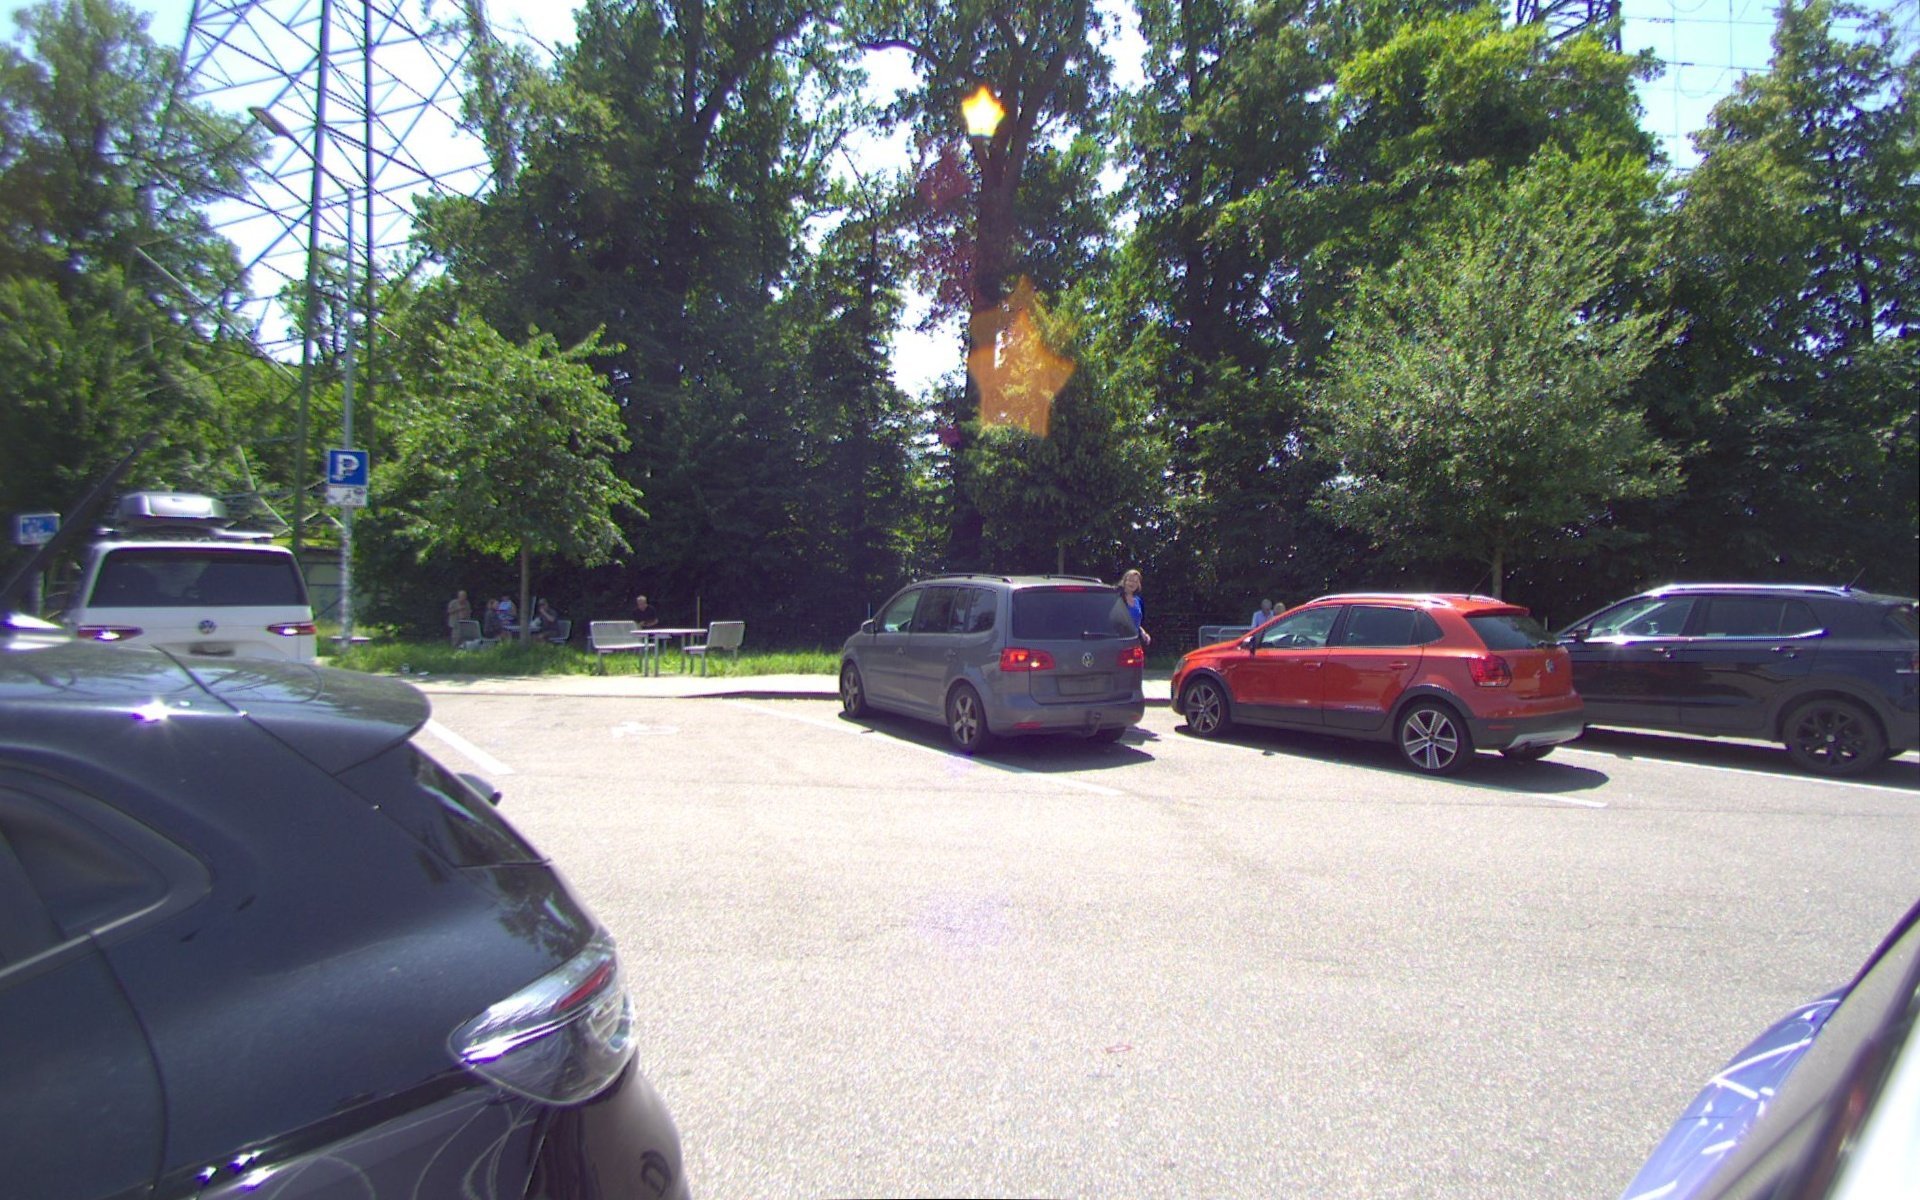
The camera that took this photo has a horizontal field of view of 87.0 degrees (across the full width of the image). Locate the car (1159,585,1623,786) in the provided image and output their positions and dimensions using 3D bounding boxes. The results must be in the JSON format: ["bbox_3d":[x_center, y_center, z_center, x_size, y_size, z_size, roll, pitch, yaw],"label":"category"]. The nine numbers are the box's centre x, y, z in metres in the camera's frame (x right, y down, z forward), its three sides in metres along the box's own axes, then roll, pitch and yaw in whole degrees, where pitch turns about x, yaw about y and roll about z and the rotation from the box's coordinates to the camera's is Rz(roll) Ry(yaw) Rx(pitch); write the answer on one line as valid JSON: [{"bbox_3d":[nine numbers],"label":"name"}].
[{"bbox_3d":[3.840,0.615,9.647,1.687,1.484,3.793,0,1,-32],"label":"car"}]

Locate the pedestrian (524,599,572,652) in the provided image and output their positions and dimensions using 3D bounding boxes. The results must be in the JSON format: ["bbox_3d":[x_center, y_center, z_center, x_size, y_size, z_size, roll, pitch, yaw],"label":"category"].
[{"bbox_3d":[-9.616,0.587,23.623,0.873,1.192,0.668,0,0,-41],"label":"pedestrian"}]

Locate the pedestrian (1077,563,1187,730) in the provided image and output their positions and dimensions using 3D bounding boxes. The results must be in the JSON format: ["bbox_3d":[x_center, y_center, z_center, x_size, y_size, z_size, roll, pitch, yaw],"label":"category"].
[{"bbox_3d":[1.839,0.468,10.848,0.901,1.703,0.735,0,0,-30],"label":"pedestrian"}]

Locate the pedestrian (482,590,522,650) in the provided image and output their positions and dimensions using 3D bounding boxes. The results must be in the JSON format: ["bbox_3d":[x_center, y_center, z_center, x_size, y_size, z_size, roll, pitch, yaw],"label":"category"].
[{"bbox_3d":[-11.071,0.473,24.473,0.664,1.422,0.643,0,0,32],"label":"pedestrian"}]

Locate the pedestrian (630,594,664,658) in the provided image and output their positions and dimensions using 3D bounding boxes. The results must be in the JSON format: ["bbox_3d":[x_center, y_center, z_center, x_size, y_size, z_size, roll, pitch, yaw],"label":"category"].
[{"bbox_3d":[-6.566,0.532,21.277,0.655,1.311,0.786,0,0,-16],"label":"pedestrian"}]

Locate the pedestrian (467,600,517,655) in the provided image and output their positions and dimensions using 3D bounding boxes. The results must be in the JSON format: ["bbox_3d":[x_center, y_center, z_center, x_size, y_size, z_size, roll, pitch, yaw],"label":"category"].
[{"bbox_3d":[-10.531,0.600,22.769,0.873,1.192,0.668,0,0,-41],"label":"pedestrian"}]

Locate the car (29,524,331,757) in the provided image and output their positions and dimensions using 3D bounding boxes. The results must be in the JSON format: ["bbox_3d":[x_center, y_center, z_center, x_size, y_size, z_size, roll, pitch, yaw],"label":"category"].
[{"bbox_3d":[-8.370,0.294,10.690,4.549,1.936,1.882,1,1,44],"label":"car"}]

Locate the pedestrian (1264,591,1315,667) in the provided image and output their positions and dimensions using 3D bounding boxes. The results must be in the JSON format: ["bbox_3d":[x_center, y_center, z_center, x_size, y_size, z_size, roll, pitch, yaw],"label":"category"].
[{"bbox_3d":[5.767,0.494,17.765,0.657,1.311,0.783,0,0,3],"label":"pedestrian"}]

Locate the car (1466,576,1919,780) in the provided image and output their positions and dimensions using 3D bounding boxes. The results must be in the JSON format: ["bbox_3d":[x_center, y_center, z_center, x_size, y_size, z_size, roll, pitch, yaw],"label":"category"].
[{"bbox_3d":[7.167,0.579,9.707,1.690,1.593,3.787,0,1,-39],"label":"car"}]

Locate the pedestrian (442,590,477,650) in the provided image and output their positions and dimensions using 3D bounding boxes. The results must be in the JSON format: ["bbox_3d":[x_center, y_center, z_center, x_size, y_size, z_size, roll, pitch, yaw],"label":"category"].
[{"bbox_3d":[-12.267,0.477,24.804,0.657,1.422,0.649,0,0,-39],"label":"pedestrian"}]

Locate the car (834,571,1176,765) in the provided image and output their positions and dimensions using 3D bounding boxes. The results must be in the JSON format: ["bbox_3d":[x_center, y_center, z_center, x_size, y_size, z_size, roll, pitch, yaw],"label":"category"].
[{"bbox_3d":[0.240,0.523,10.517,1.713,1.601,3.996,0,1,-29],"label":"car"}]

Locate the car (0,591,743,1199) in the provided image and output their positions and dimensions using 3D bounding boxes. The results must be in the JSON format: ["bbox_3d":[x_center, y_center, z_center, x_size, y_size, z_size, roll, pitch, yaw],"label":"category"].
[{"bbox_3d":[-2.215,0.724,0.598,1.737,1.501,3.757,0,-1,44],"label":"car"}]

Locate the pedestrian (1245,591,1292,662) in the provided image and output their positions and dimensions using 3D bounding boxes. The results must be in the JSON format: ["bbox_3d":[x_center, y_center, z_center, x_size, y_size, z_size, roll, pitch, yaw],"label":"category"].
[{"bbox_3d":[5.772,0.483,18.967,0.657,1.311,0.783,0,0,3],"label":"pedestrian"}]
